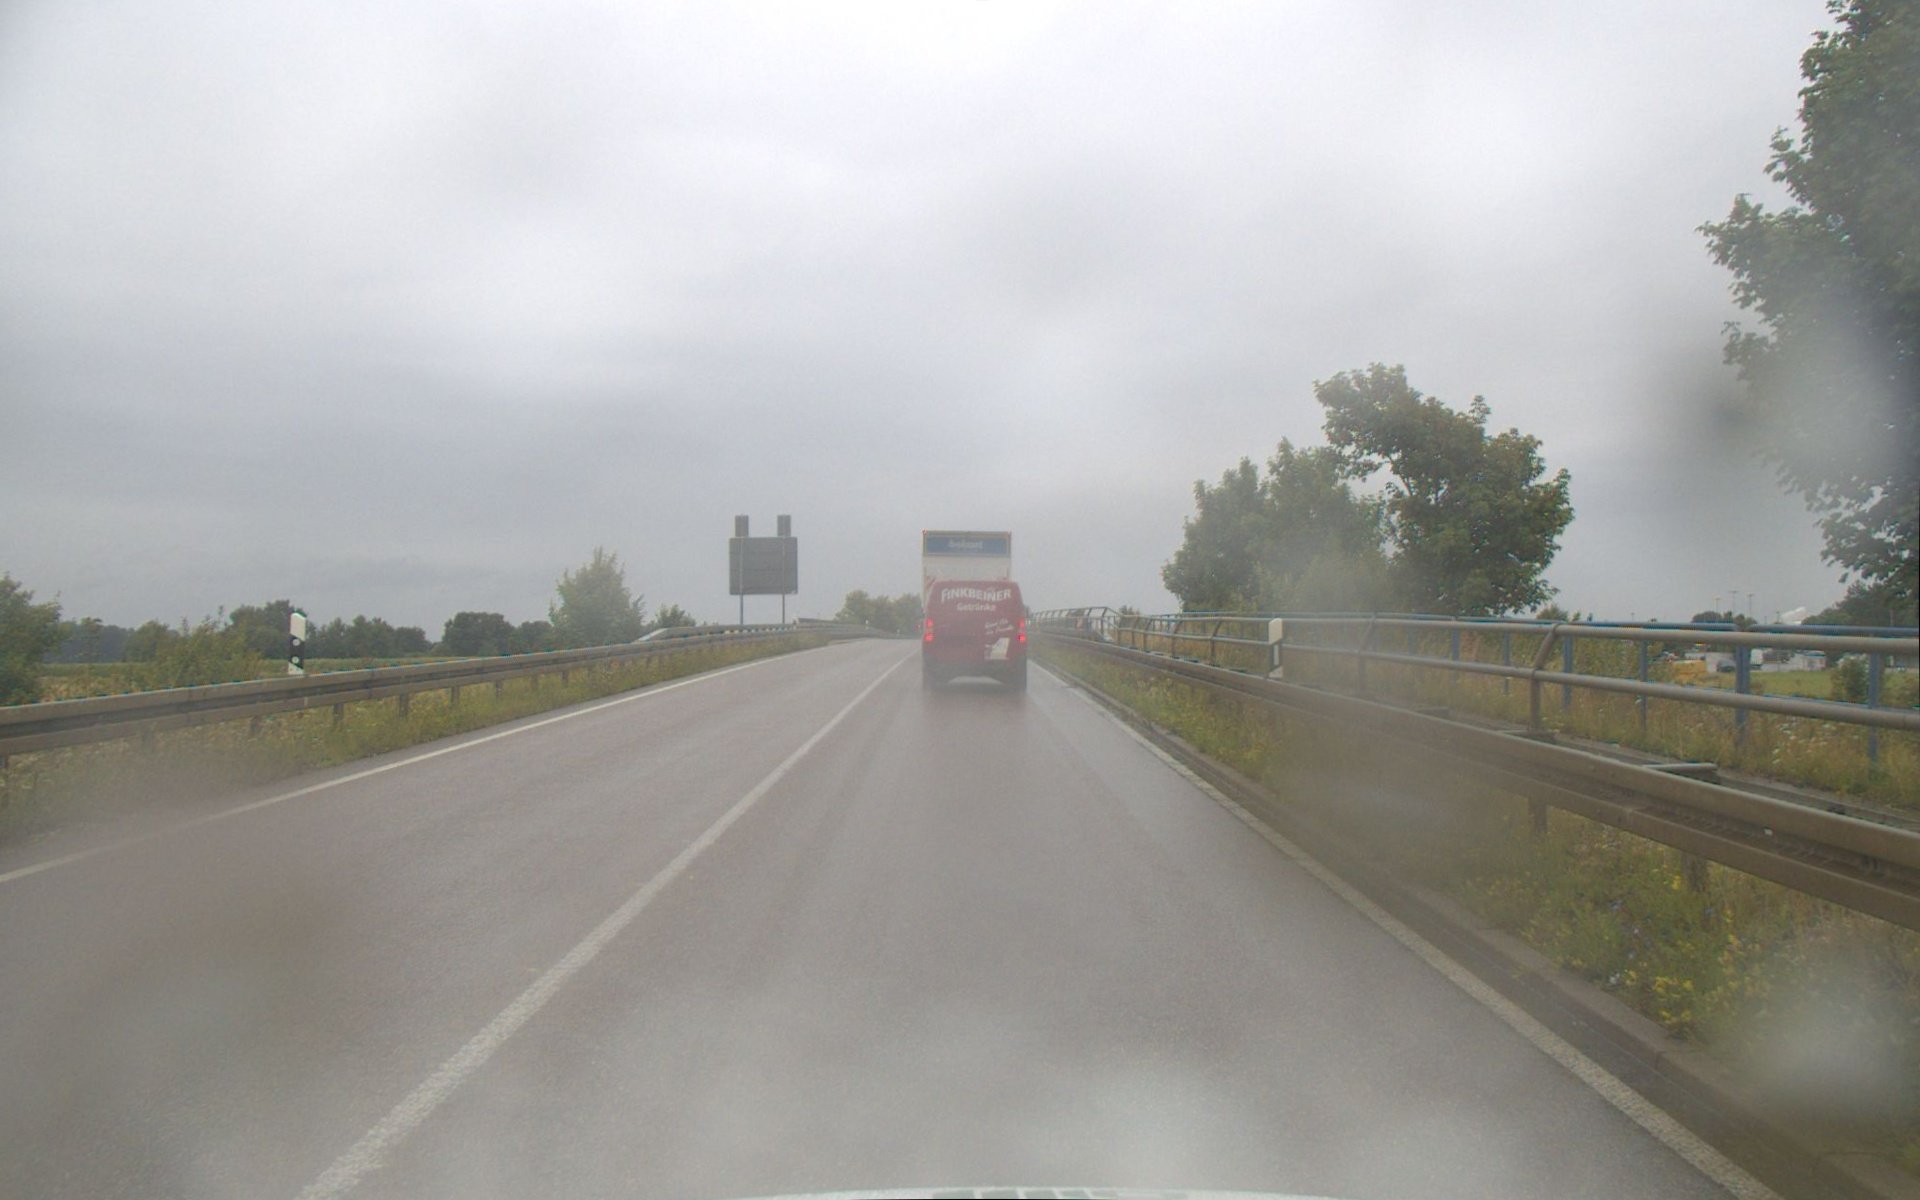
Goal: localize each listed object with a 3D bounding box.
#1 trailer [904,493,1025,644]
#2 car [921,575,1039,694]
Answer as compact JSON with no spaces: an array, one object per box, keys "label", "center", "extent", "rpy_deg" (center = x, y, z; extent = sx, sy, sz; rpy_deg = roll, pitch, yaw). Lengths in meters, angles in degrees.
[{"label":"trailer","center":[0.243,-0.754,49.949],"extent":[3.135,3.991,8.740],"rpy_deg":[3,-2,2]},{"label":"car","center":[0.312,0.583,29.760],"extent":[1.953,1.959,4.142],"rpy_deg":[1,0,-1]}]
